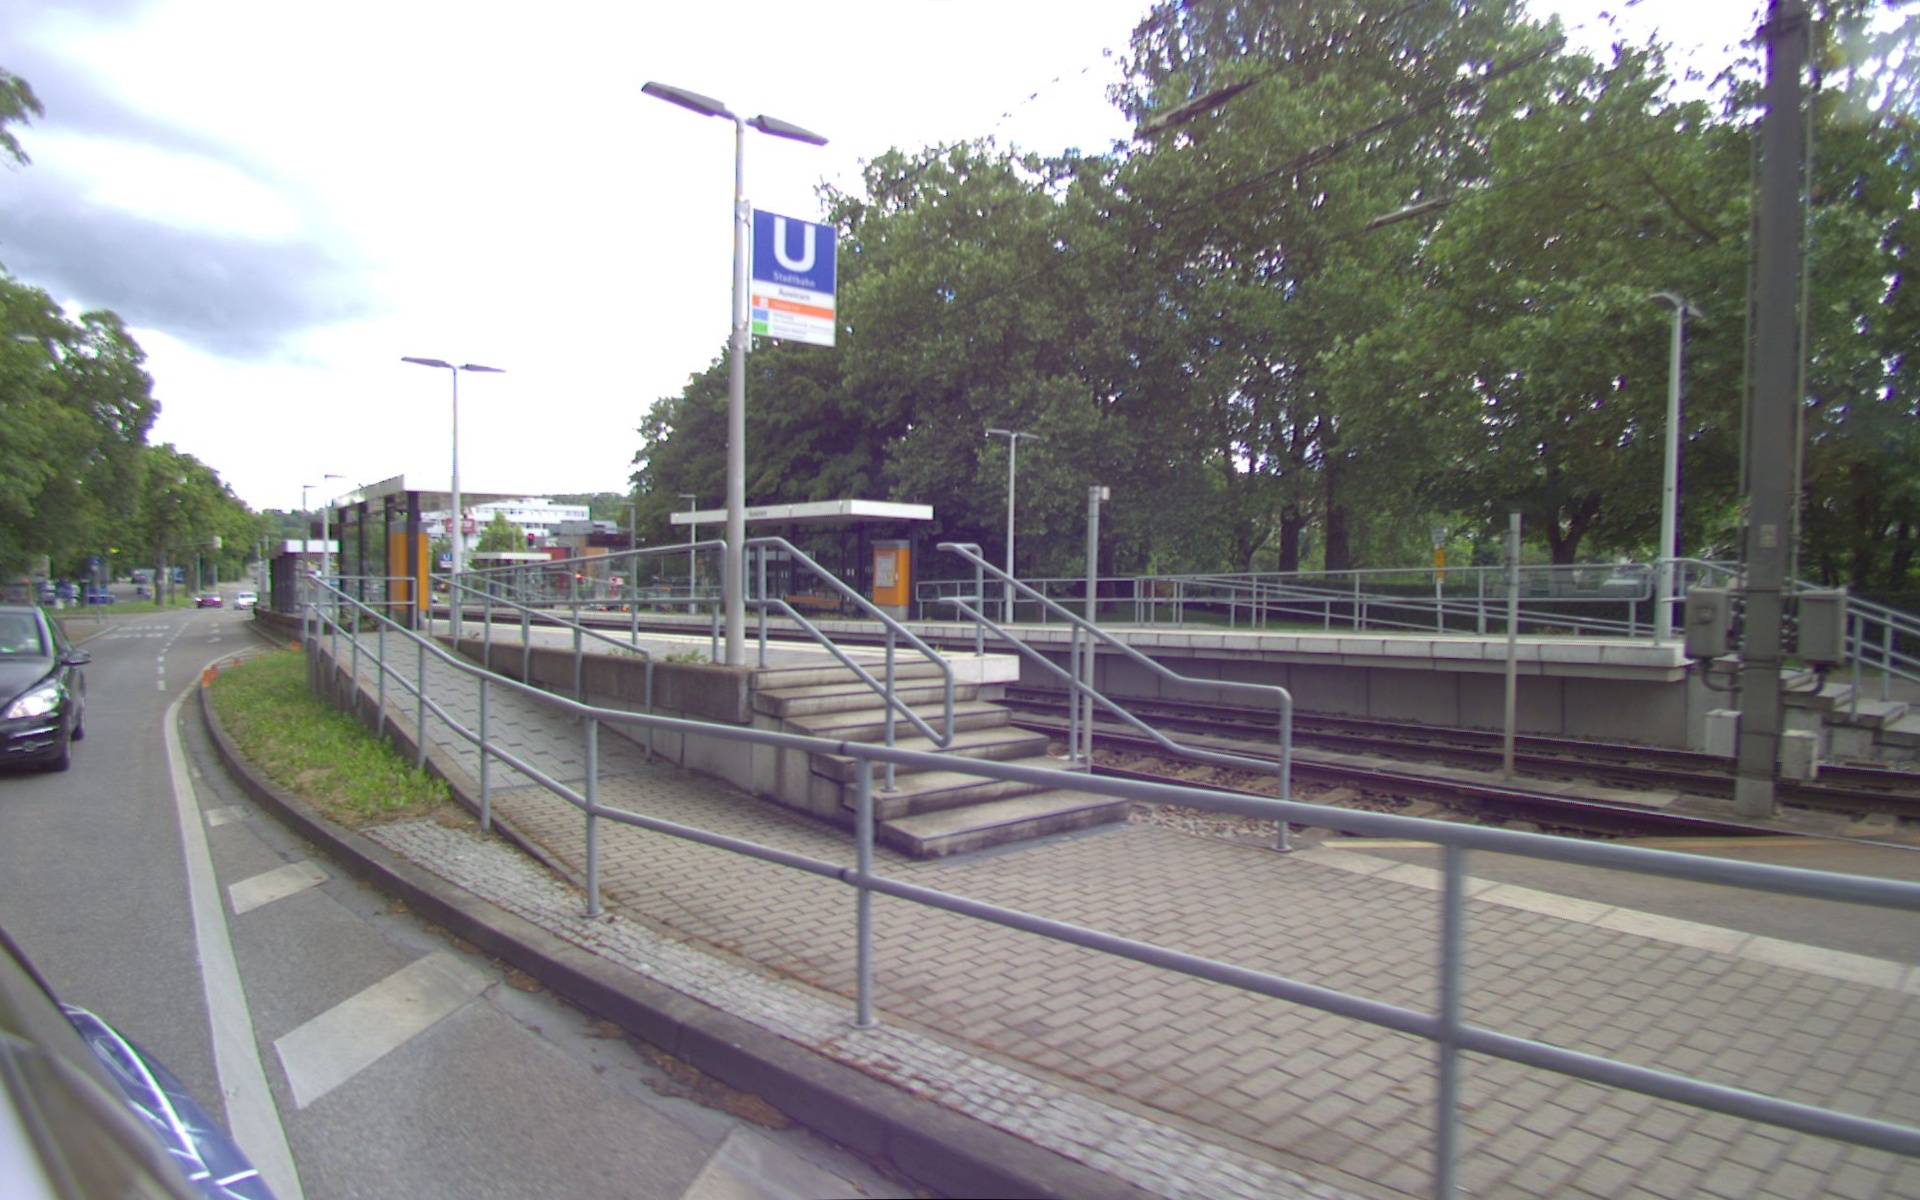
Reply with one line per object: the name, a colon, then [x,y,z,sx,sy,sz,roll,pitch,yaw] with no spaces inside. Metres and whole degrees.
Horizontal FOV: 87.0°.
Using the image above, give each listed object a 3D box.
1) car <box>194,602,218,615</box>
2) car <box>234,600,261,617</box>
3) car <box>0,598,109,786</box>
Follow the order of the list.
car: [-73.287,0.833,98.323,1.690,1.294,3.580,1,-1,-39]
car: [-63.565,0.728,90.237,1.677,1.489,3.715,1,-1,-39]
car: [-9.844,0.781,10.066,1.684,1.595,4.453,1,-1,-35]
